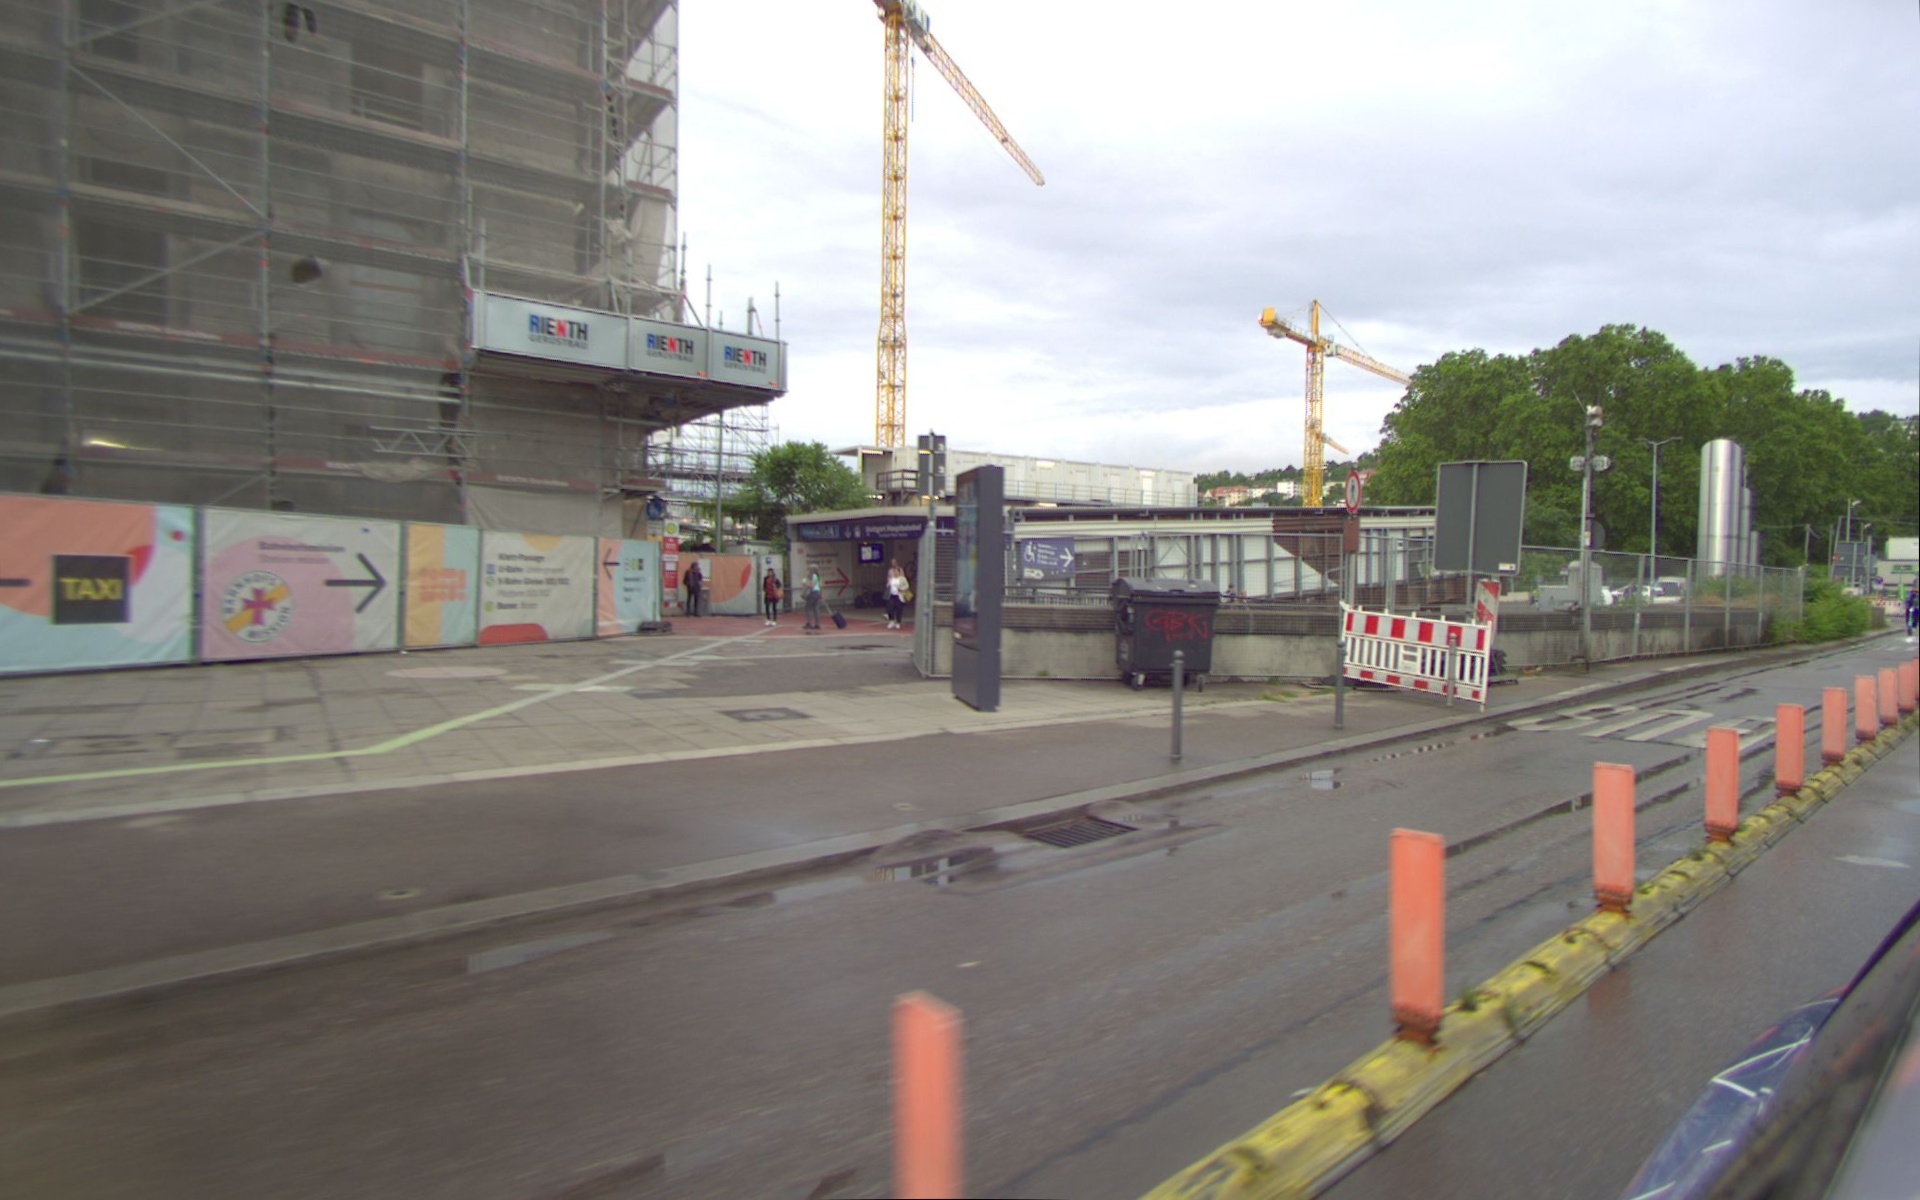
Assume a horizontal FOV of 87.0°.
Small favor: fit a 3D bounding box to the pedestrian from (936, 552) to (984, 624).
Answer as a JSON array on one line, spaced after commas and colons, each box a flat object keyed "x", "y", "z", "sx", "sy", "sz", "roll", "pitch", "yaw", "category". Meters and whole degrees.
[{"x": 0.005, "y": -0.278, "z": 23.298, "sx": 0.698, "sy": 1.613, "sz": 0.855, "roll": 0, "pitch": 0, "yaw": -44, "category": "pedestrian"}]

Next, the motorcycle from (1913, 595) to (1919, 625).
[{"x": 41.153, "y": 0.433, "z": 43.070, "sx": 2.124, "sy": 1.244, "sz": 0.729, "roll": 1, "pitch": 1, "yaw": -43, "category": "motorcycle"}]

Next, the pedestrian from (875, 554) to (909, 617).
[{"x": -2.088, "y": -0.447, "z": 31.154, "sx": 0.849, "sy": 1.899, "sz": 0.639, "roll": 2, "pitch": 2, "yaw": 15, "category": "pedestrian"}]

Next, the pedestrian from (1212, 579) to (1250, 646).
[{"x": 8.437, "y": 0.376, "z": 31.470, "sx": 0.753, "sy": 2.039, "sz": 0.865, "roll": 0, "pitch": 0, "yaw": -44, "category": "pedestrian"}]

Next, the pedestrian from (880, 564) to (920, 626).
[{"x": -1.667, "y": -0.143, "z": 28.020, "sx": 0.901, "sy": 1.666, "sz": 0.699, "roll": 2, "pitch": 2, "yaw": 15, "category": "pedestrian"}]

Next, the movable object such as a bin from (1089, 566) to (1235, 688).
[{"x": 2.643, "y": 0.327, "z": 13.432, "sx": 1.502, "sy": 1.510, "sz": 1.305, "roll": 1, "pitch": 2, "yaw": -8, "category": "movable object such as a bin"}]

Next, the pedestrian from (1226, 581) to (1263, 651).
[{"x": 8.413, "y": 0.454, "z": 29.913, "sx": 0.753, "sy": 2.039, "sz": 0.778, "roll": 0, "pitch": 0, "yaw": -44, "category": "pedestrian"}]

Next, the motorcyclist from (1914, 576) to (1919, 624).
[{"x": 41.108, "y": 0.021, "z": 43.001, "sx": 0.577, "sy": 2.061, "sz": 0.725, "roll": 2, "pitch": 1, "yaw": -43, "category": "motorcyclist"}]

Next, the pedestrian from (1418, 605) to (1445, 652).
[{"x": 18.998, "y": 1.146, "z": 40.766, "sx": 0.998, "sy": 1.855, "sz": 0.672, "roll": 0, "pitch": 1, "yaw": -43, "category": "pedestrian"}]

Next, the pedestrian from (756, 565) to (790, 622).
[{"x": -5.068, "y": -0.184, "z": 27.478, "sx": 0.630, "sy": 1.525, "sz": 0.702, "roll": 0, "pitch": 2, "yaw": -38, "category": "pedestrian"}]

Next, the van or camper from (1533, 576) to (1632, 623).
[{"x": 35.589, "y": -0.090, "z": 58.113, "sx": 2.345, "sy": 2.431, "sz": 6.053, "roll": 3, "pitch": 1, "yaw": 6, "category": "van or camper"}]

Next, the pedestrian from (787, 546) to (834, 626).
[{"x": -3.852, "y": -0.369, "z": 26.111, "sx": 0.916, "sy": 2.038, "sz": 0.765, "roll": 0, "pitch": 2, "yaw": -40, "category": "pedestrian"}]

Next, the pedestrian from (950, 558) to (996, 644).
[{"x": 0.315, "y": 0.019, "z": 24.301, "sx": 0.753, "sy": 2.039, "sz": 0.804, "roll": 0, "pitch": 0, "yaw": -44, "category": "pedestrian"}]

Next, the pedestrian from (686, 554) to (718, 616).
[{"x": -8.453, "y": -0.491, "z": 33.180, "sx": 0.840, "sy": 2.018, "sz": 0.704, "roll": 1, "pitch": 2, "yaw": -28, "category": "pedestrian"}]
